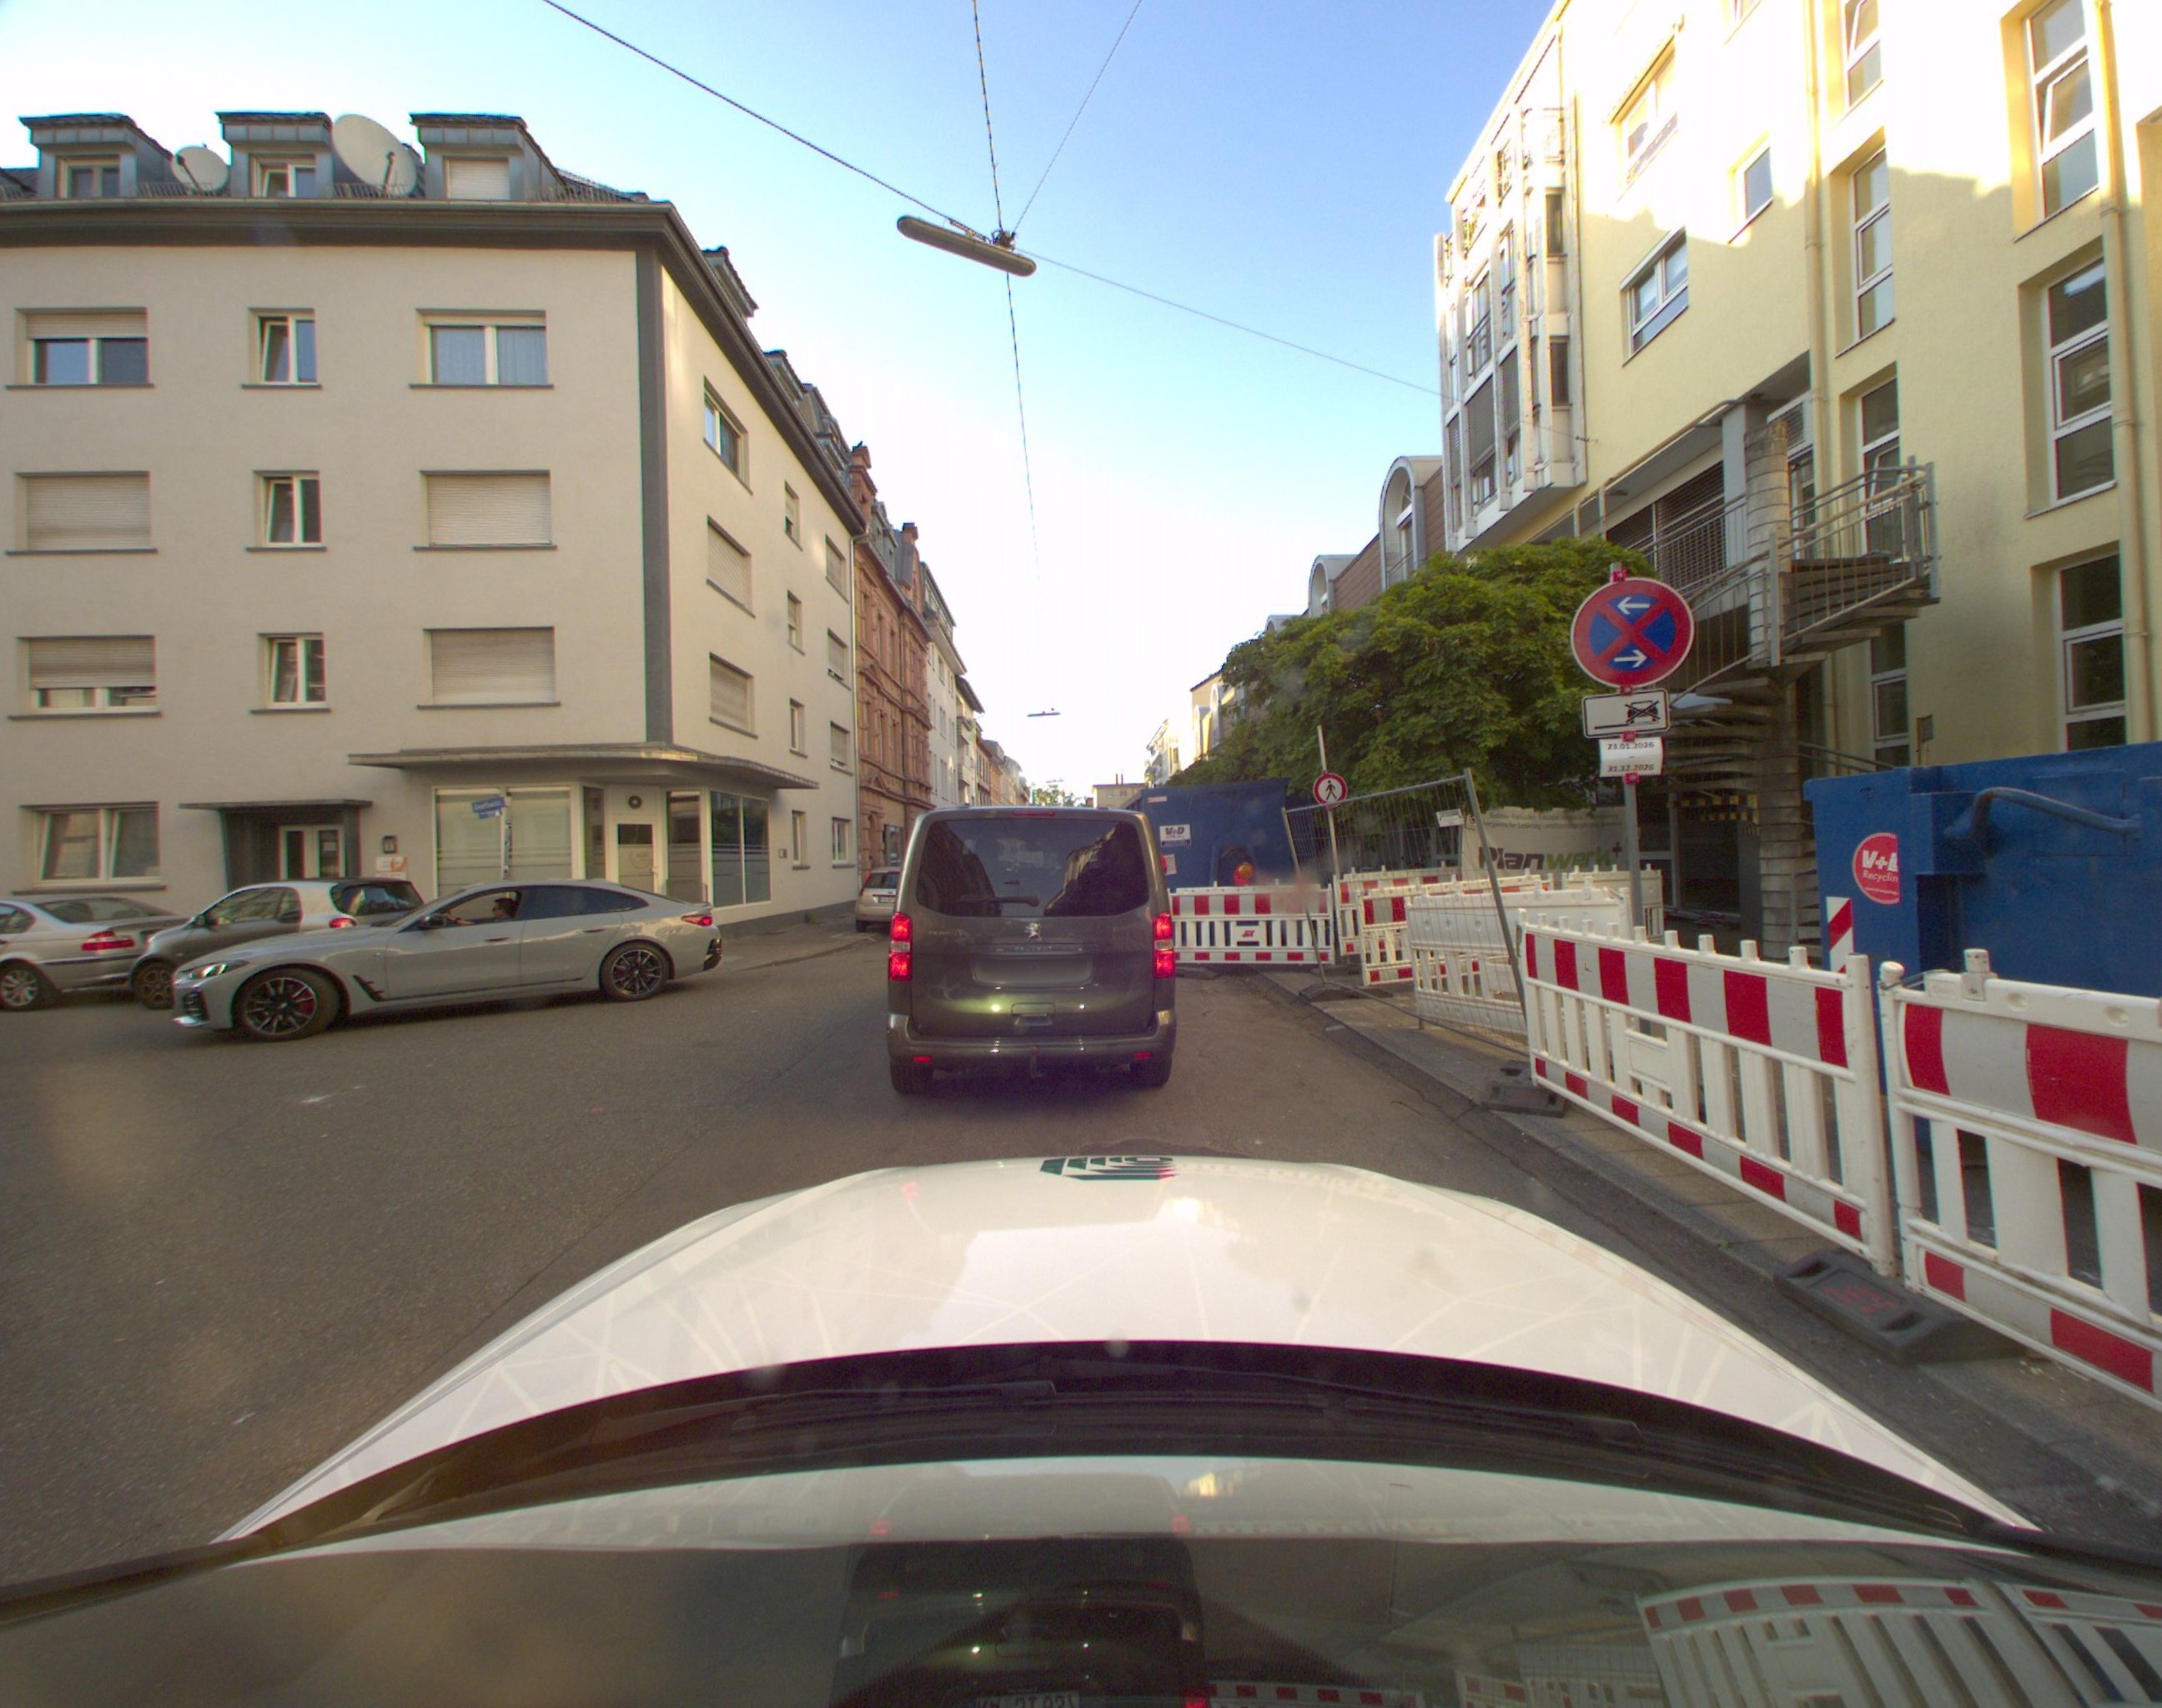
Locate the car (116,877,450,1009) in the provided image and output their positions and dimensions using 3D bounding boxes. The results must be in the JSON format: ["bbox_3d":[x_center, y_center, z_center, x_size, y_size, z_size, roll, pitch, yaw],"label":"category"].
[{"bbox_3d":[-10.311,1.097,10.701,2.778,1.540,1.593,-1,0,-1],"label":"car"}]

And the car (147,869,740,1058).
[{"bbox_3d":[-6.684,0.991,9.248,4.834,1.451,1.912,-2,0,-37],"label":"car"}]

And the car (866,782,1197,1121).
[{"bbox_3d":[-0.422,0.574,6.784,1.862,1.886,4.228,-1,-1,-4],"label":"car"}]

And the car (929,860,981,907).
[{"bbox_3d":[-4.849,1.123,31.620,1.663,1.666,3.087,3,-1,-4],"label":"car"}]

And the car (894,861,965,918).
[{"bbox_3d":[-4.487,1.014,24.527,1.653,1.525,3.412,3,-1,-4],"label":"car"}]

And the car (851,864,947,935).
[{"bbox_3d":[-4.181,1.004,19.208,1.653,1.460,3.412,3,-1,-4],"label":"car"}]

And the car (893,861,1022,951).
[{"bbox_3d":[-2.236,0.935,15.594,1.648,1.460,3.421,-3,-2,4],"label":"car"}]

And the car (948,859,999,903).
[{"bbox_3d":[-4.591,1.136,35.262,1.888,1.720,3.748,3,-1,-4],"label":"car"}]

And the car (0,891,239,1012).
[{"bbox_3d":[-14.231,1.276,10.855,4.193,1.403,1.602,-1,0,-3],"label":"car"}]

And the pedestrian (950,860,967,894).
[{"bbox_3d":[-6.077,1.128,40.401,0.739,1.664,0.702,-2,0,-5],"label":"pedestrian"}]
